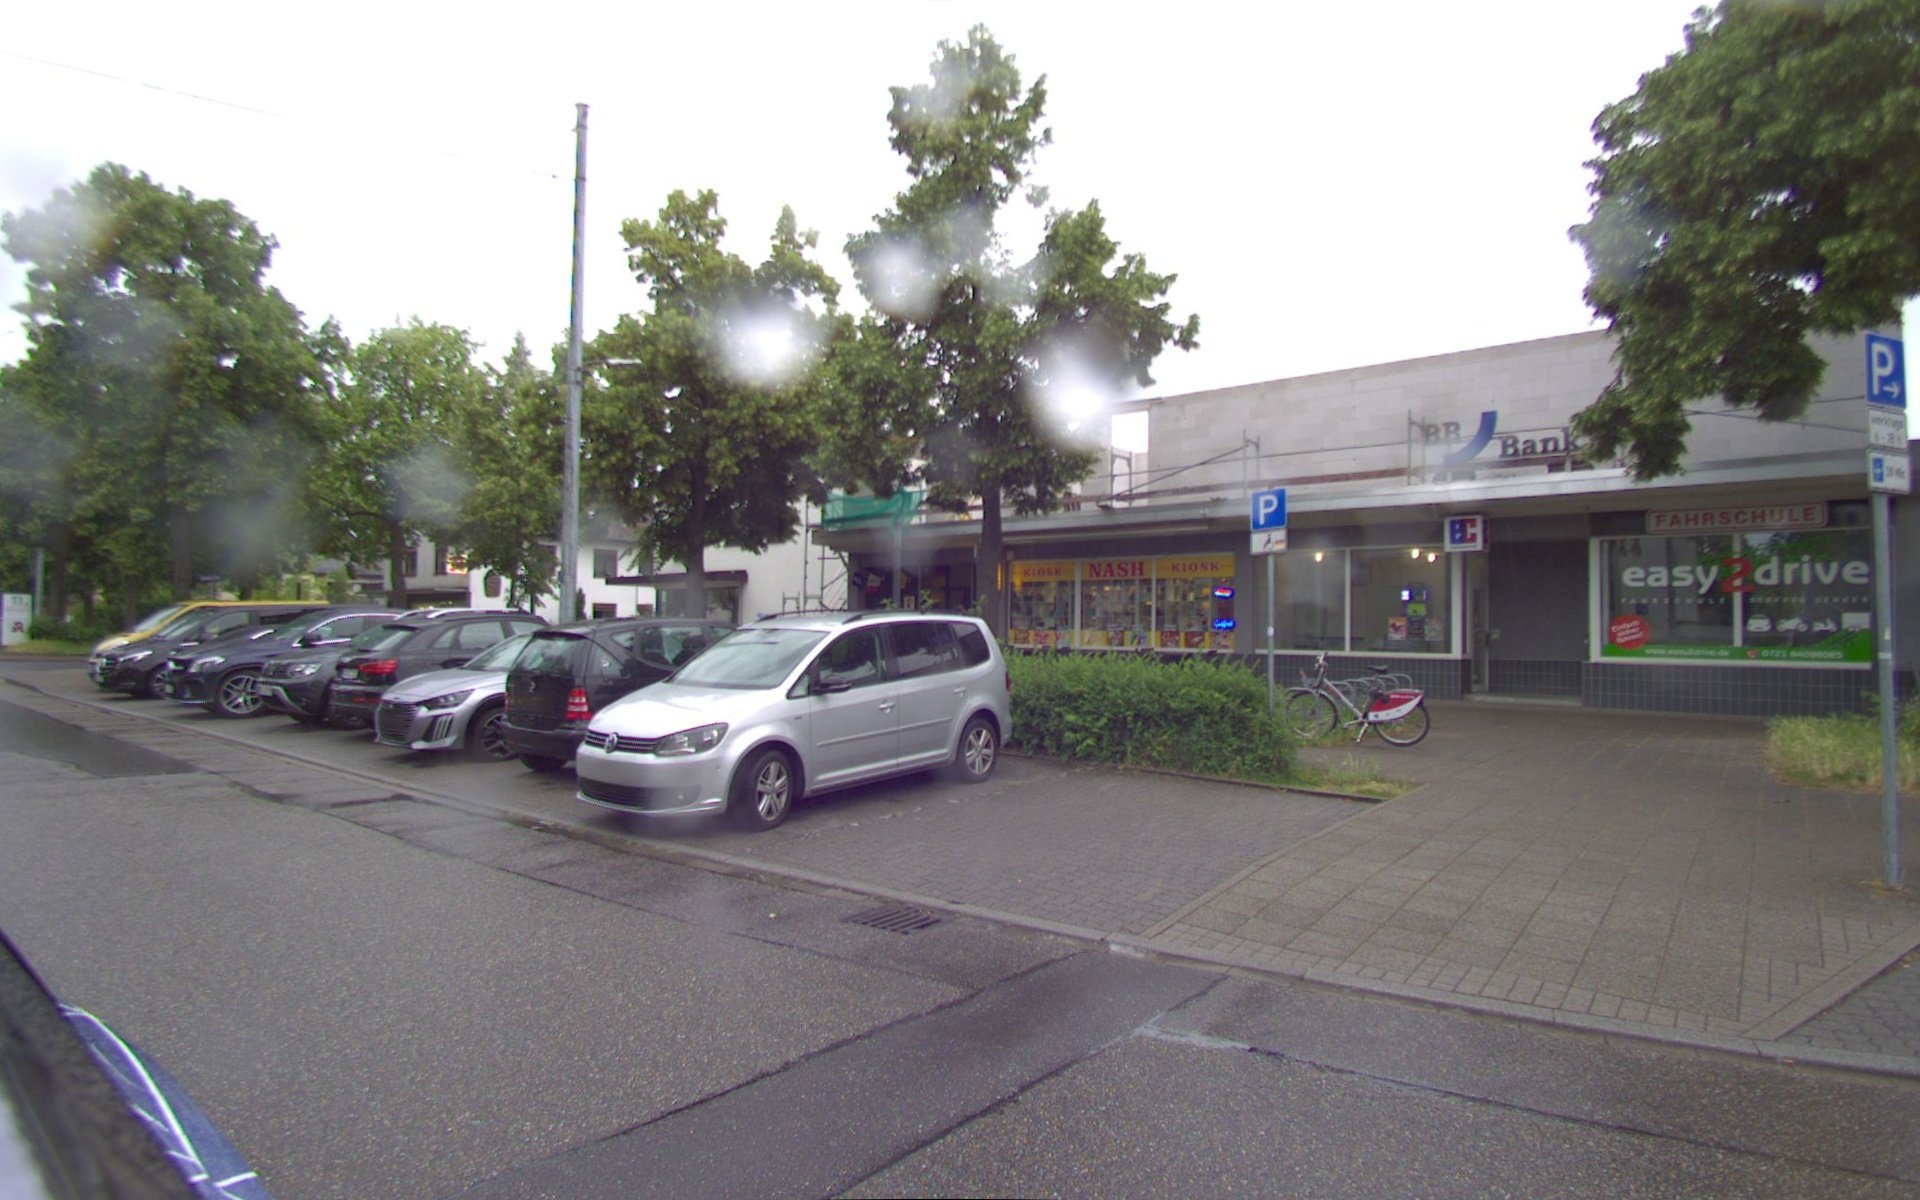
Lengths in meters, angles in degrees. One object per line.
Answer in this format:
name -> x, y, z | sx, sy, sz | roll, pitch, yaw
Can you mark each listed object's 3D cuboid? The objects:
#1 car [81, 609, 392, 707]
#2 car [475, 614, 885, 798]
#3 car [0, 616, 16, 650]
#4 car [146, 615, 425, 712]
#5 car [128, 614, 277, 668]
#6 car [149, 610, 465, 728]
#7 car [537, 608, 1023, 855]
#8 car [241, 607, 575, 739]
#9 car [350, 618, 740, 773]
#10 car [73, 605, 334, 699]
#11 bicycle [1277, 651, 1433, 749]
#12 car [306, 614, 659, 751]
car -> -15.156, 1.114, 21.519 | 1.713, 1.813, 5.114 | -1, -1, 38
car -> -2.849, 0.972, 11.151 | 1.633, 1.577, 4.231 | -1, 0, 38
car -> -49.760, 1.665, 50.268 | 1.997, 1.698, 3.950 | -1, 0, 37
car -> -13.002, 1.133, 19.751 | 1.713, 1.639, 4.231 | -1, -1, 38
car -> -26.535, 1.381, 35.539 | 1.841, 1.700, 3.943 | -1, 0, 43
car -> -10.987, 1.047, 17.295 | 1.713, 1.740, 4.231 | -1, -1, 38
car -> -1.327, 0.904, 9.009 | 1.713, 1.647, 4.231 | -1, -1, 38
car -> -8.352, 0.982, 15.651 | 1.713, 1.740, 4.231 | -1, -1, 38
car -> -4.957, 1.019, 12.617 | 1.713, 1.544, 4.231 | -1, -1, 38
car -> -17.451, 1.108, 23.575 | 1.713, 1.973, 4.600 | -1, -1, 38
bicycle -> 4.799, 1.193, 12.351 | 1.739, 1.115, 0.316 | -1, 0, 25
car -> -6.578, 1.026, 14.355 | 1.713, 1.607, 4.231 | -1, -1, 38
